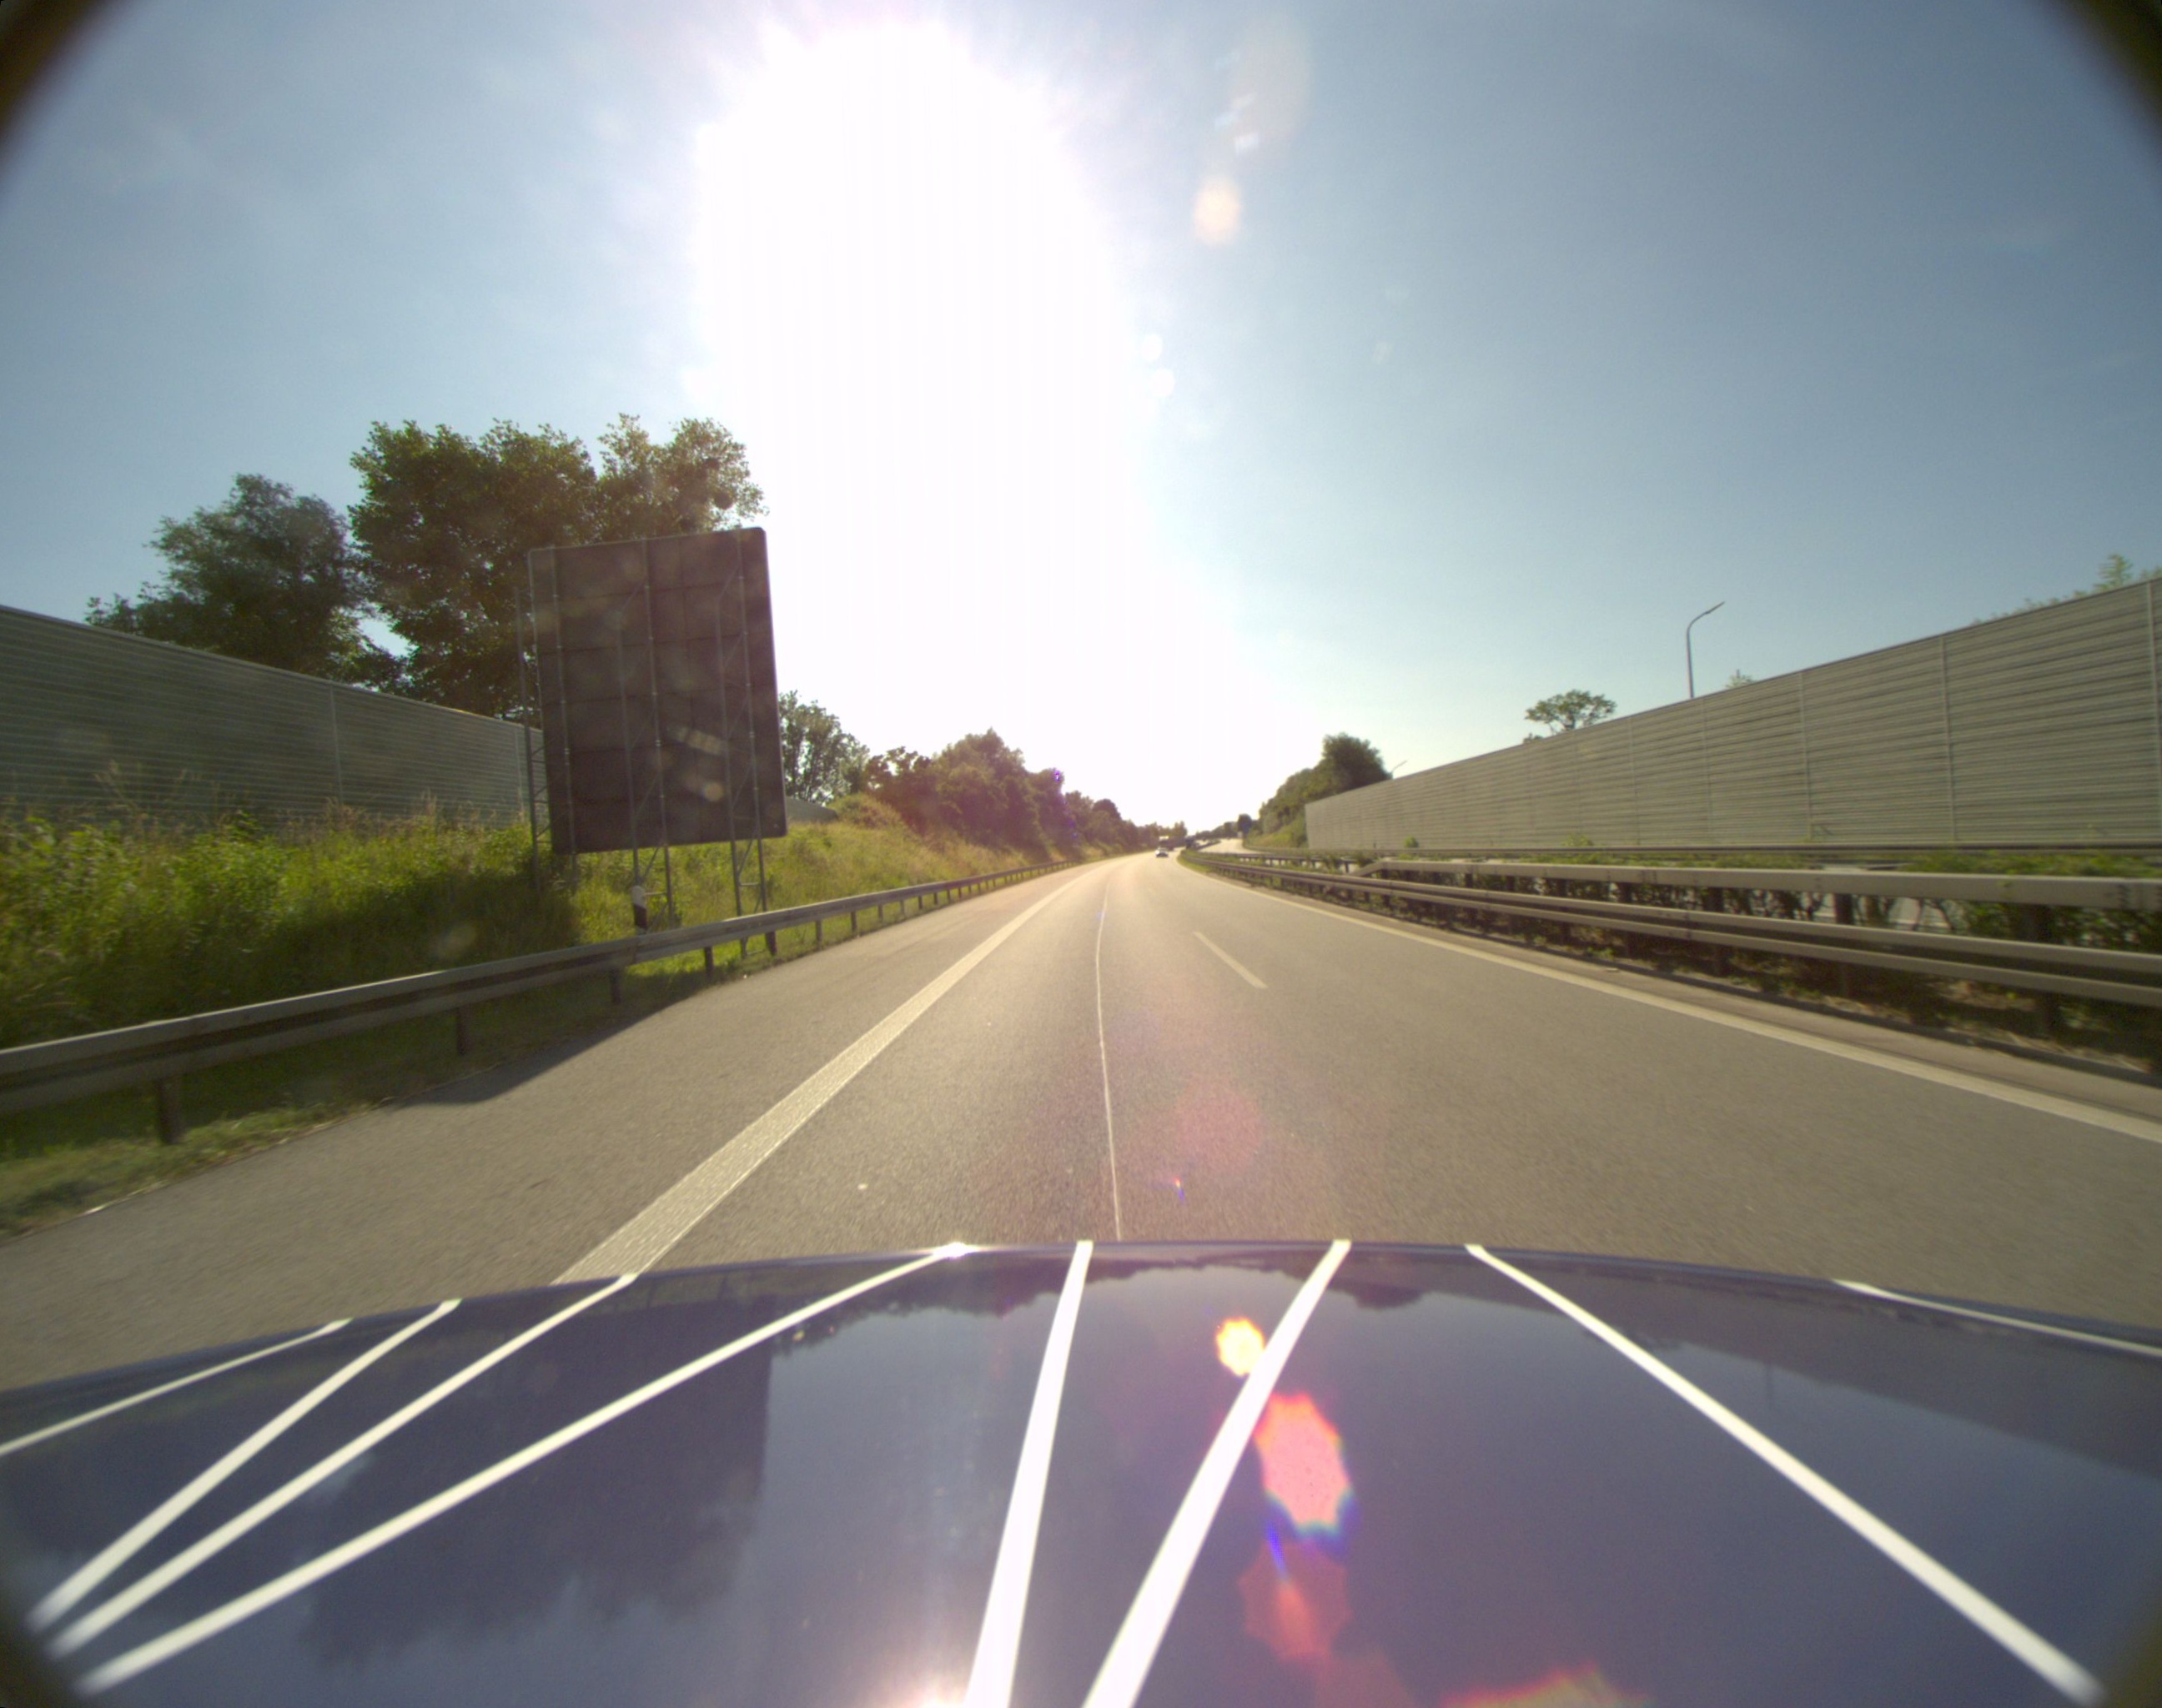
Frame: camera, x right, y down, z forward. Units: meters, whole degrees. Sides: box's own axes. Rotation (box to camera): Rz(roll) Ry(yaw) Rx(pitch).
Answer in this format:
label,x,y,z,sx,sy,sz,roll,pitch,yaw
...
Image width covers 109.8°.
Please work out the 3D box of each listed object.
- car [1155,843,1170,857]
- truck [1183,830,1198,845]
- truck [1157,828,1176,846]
label,x,y,z,sx,sy,sz,roll,pitch,yaw
car,12.474,-0.524,116.570,1.997,2.001,4.602,-3,0,8
truck,33.144,-4.953,229.674,3.431,4.188,12.093,-2,1,12
truck,21.652,-4.275,191.925,3.431,4.188,12.093,-2,1,11
